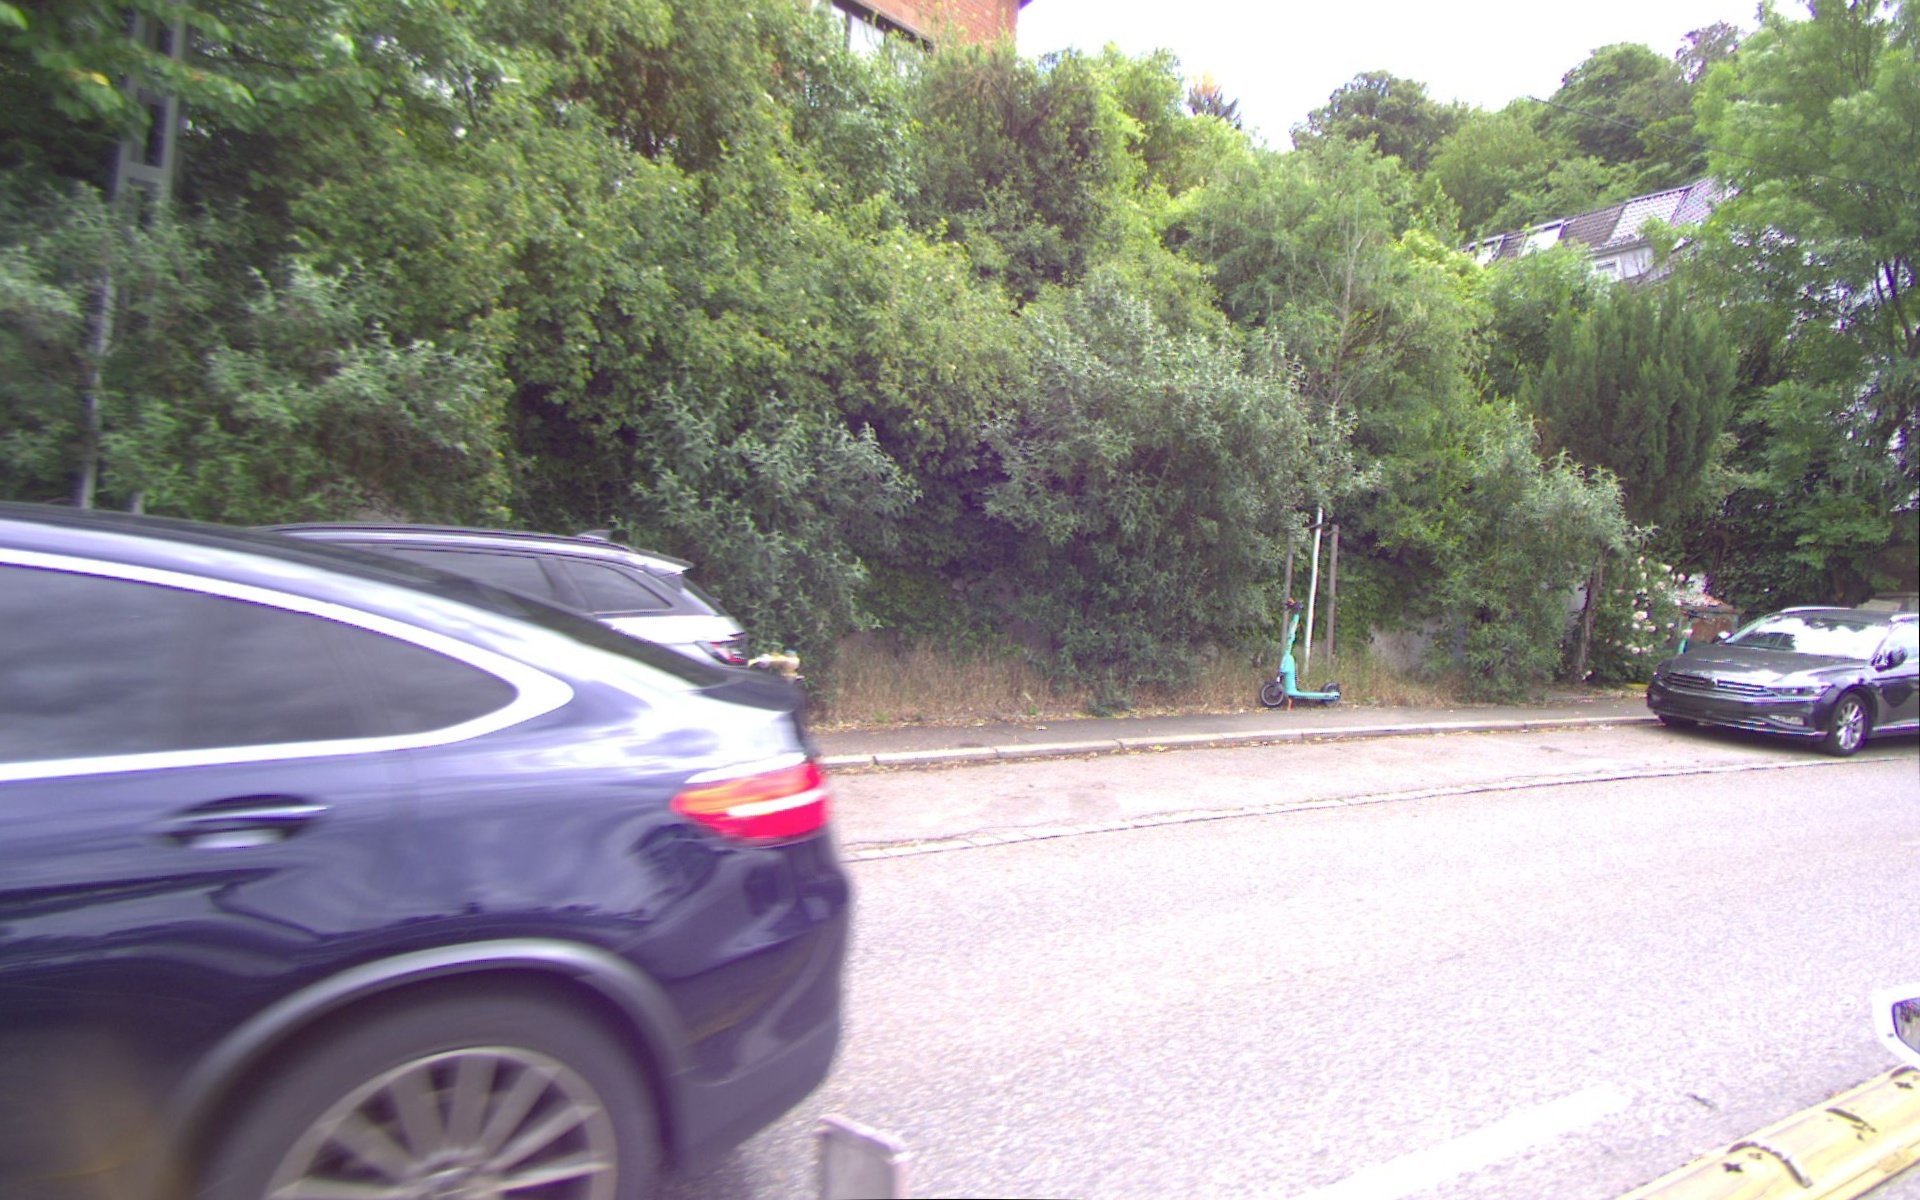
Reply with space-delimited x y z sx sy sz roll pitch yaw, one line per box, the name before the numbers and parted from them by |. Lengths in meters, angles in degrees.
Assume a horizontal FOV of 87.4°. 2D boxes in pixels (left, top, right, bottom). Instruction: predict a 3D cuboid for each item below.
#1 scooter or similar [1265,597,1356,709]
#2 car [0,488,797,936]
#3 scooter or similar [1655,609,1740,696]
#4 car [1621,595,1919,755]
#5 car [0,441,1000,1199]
scooter or similar | 4.054 0.599 11.603 1.033 1.229 0.347 1 3 -30
car | -3.064 0.390 4.842 4.138 1.627 1.678 2 2 -31
scooter or similar | 11.039 0.784 15.038 1.104 1.248 0.415 2 3 -19
car | 10.002 0.787 11.472 4.616 1.471 1.732 2 3 -22
car | -2.166 0.549 1.900 4.179 1.589 1.759 1 1 -30
